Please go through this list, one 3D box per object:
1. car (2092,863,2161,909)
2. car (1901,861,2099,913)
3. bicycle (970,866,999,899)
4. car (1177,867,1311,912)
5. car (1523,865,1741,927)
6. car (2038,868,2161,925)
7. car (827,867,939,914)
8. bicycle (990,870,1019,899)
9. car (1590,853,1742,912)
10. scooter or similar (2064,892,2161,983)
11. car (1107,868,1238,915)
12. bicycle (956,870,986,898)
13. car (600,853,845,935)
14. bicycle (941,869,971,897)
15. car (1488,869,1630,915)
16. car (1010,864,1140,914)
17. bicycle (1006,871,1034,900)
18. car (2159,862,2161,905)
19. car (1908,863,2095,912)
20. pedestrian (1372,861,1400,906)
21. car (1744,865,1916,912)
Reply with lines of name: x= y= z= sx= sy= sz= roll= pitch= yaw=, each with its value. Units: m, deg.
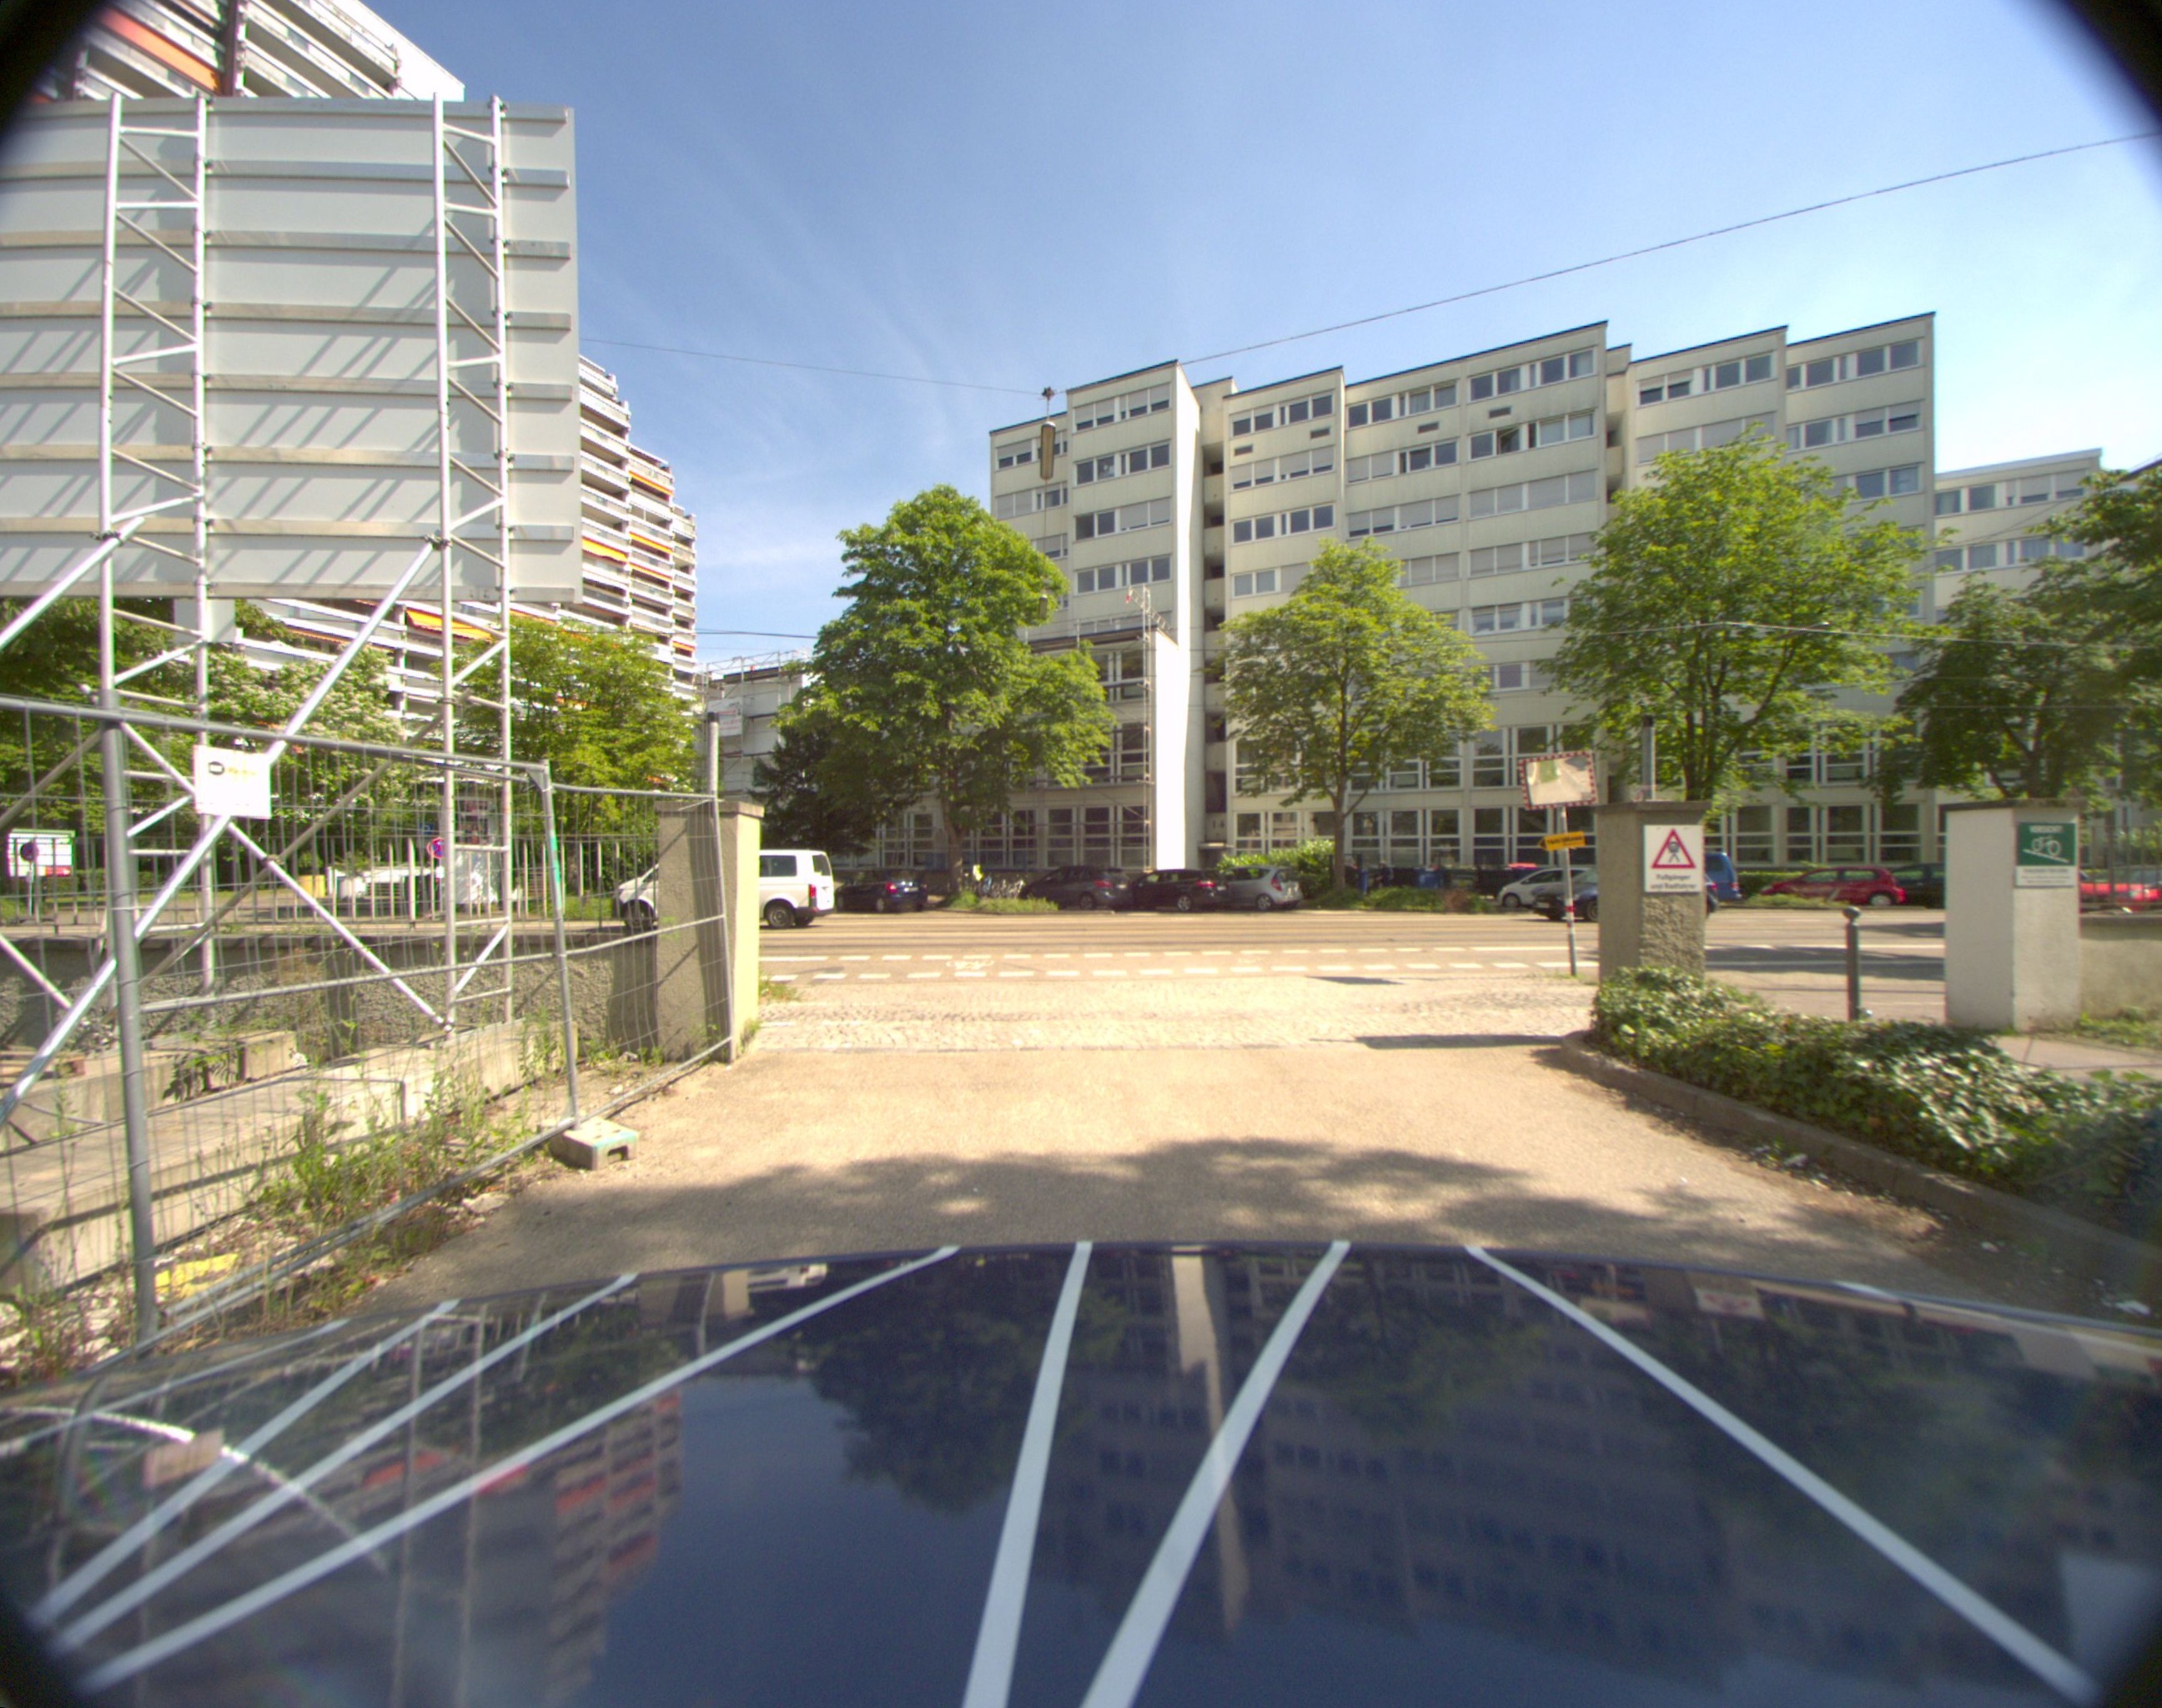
car: x=39.868 y=1.139 z=27.351 sx=1.833 sy=1.652 sz=3.989 roll=0 pitch=-1 yaw=-44
car: x=30.748 y=1.087 z=25.637 sx=3.989 sy=1.630 sz=1.808 roll=-2 pitch=-2 yaw=42
bicycle: x=-4.192 y=1.228 z=33.145 sx=0.488 sy=1.370 sz=2.019 roll=0 pitch=-1 yaw=17
car: x=5.720 y=1.213 z=26.977 sx=4.327 sy=1.477 sz=1.806 roll=-1 pitch=-1 yaw=43
car: x=14.420 y=1.086 z=20.059 sx=4.388 sy=1.512 sz=1.943 roll=0 pitch=-1 yaw=-2
car: x=28.000 y=1.065 z=19.826 sx=4.173 sy=1.404 sz=1.662 roll=0 pitch=-1 yaw=-3
car: x=-6.757 y=1.192 z=25.691 sx=3.988 sy=1.443 sz=1.658 roll=-1 pitch=-1 yaw=40
bicycle: x=-3.313 y=1.311 z=32.884 sx=0.488 sy=1.192 sz=2.019 roll=0 pitch=-1 yaw=17
car: x=20.133 y=0.965 z=26.222 sx=3.989 sy=1.895 sz=1.791 roll=-2 pitch=-2 yaw=42
scooter or similar: x=14.530 y=1.118 z=10.327 sx=0.493 sy=1.178 sz=1.484 roll=-1 pitch=-1 yaw=7
car: x=3.120 y=1.238 z=26.255 sx=4.173 sy=1.467 sz=1.805 roll=-1 pitch=-1 yaw=39
bicycle: x=-4.826 y=1.303 z=33.421 sx=0.488 sy=1.192 sz=2.019 roll=0 pitch=-1 yaw=17
car: x=-8.903 y=0.968 z=19.235 sx=5.246 sy=1.934 sz=1.996 roll=0 pitch=-1 yaw=-2
bicycle: x=-5.547 y=1.286 z=33.859 sx=0.488 sy=1.192 sz=2.019 roll=0 pitch=-1 yaw=16
car: x=16.593 y=1.263 z=26.521 sx=1.713 sy=1.455 sz=3.840 roll=0 pitch=-1 yaw=-36
car: x=-0.261 y=1.163 z=26.314 sx=4.378 sy=1.556 sz=1.812 roll=-1 pitch=-1 yaw=41
bicycle: x=-2.606 y=1.330 z=32.743 sx=0.488 sy=1.192 sz=2.019 roll=0 pitch=-1 yaw=17
car: x=42.767 y=1.118 z=27.543 sx=1.833 sy=1.652 sz=3.989 roll=0 pitch=-1 yaw=-44
car: x=32.572 y=1.161 z=27.090 sx=3.989 sy=1.630 sz=1.836 roll=-2 pitch=-2 yaw=42
pedestrian: x=12.120 y=1.166 z=30.206 sx=0.753 sy=1.766 sz=0.731 roll=0 pitch=0 yaw=-4
car: x=26.246 y=1.177 z=26.848 sx=4.208 sy=1.529 sz=1.787 roll=-2 pitch=-2 yaw=42
